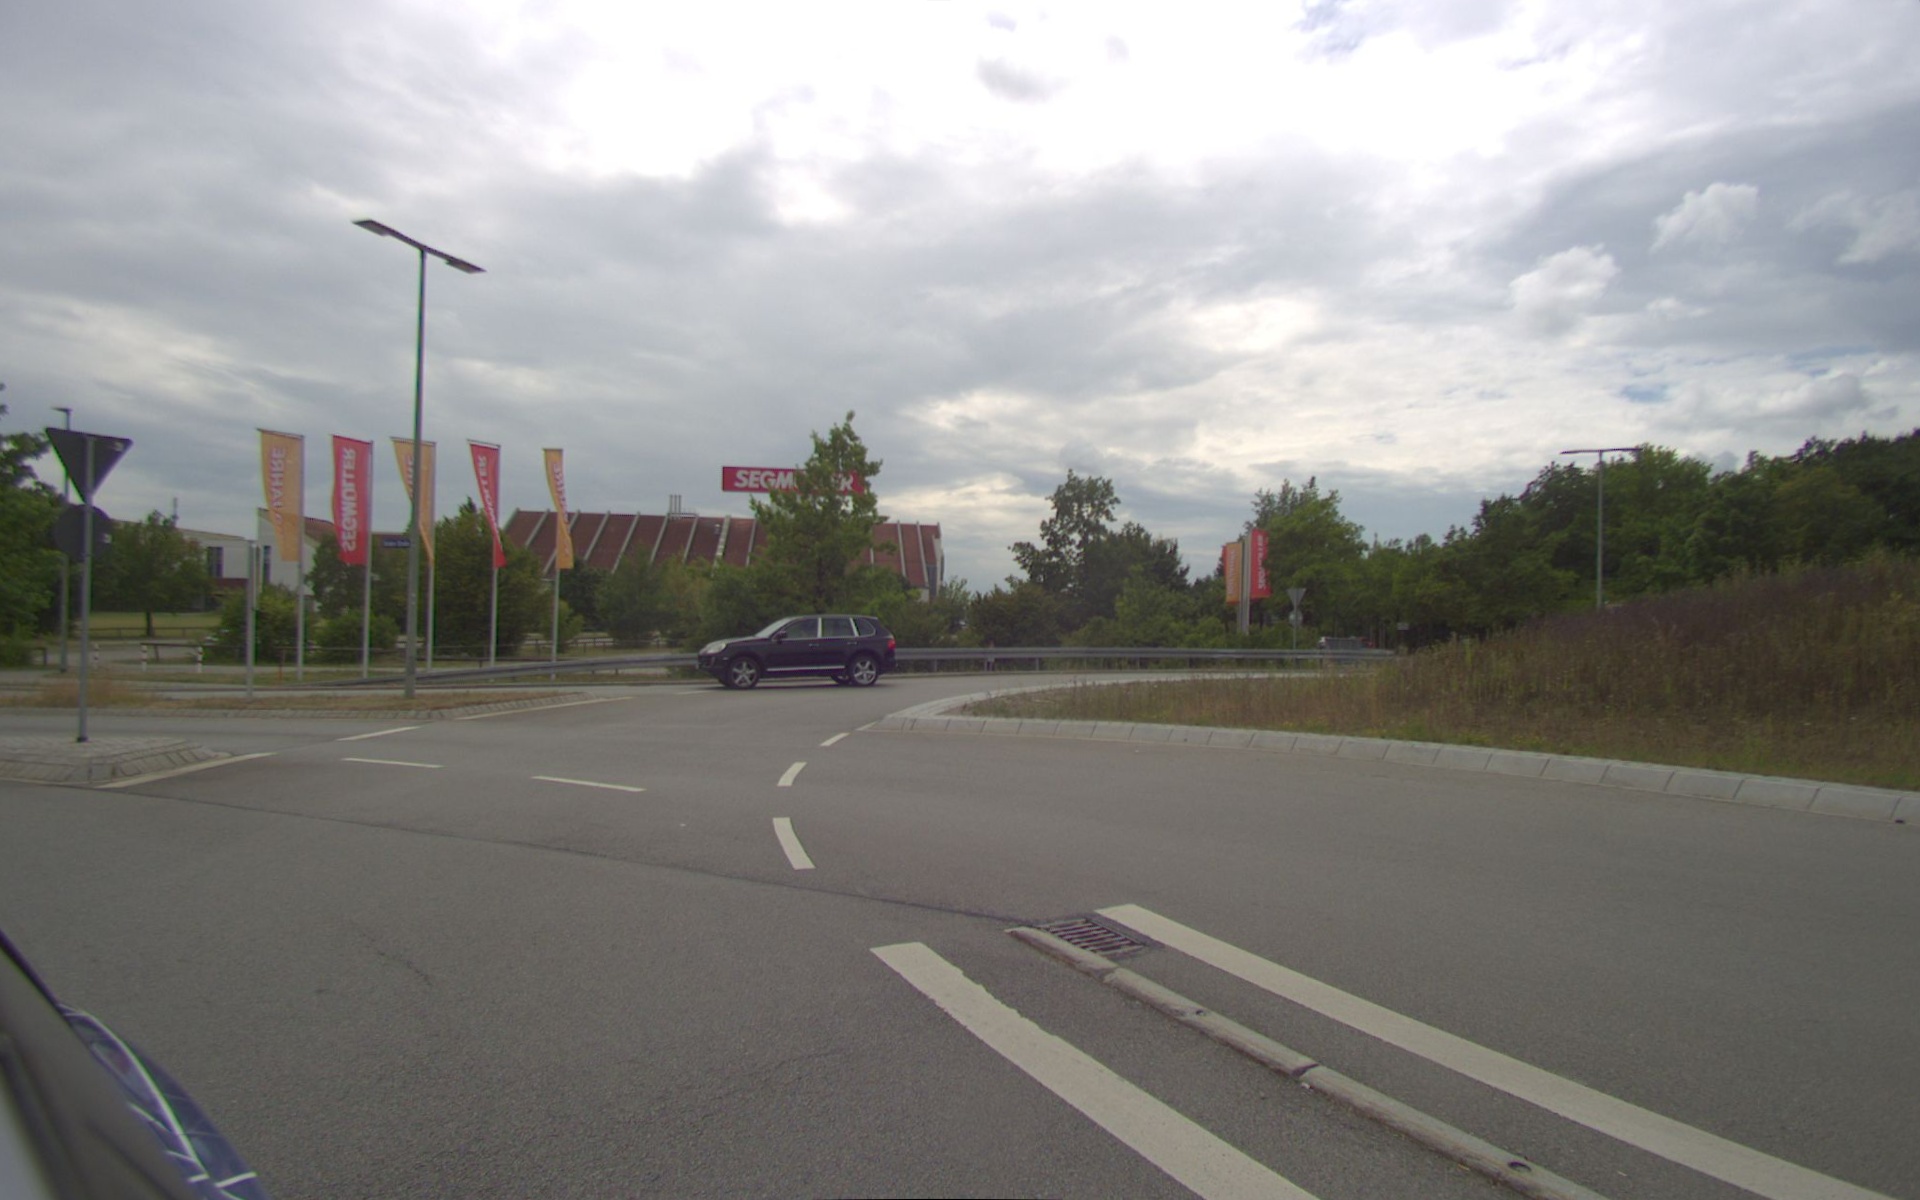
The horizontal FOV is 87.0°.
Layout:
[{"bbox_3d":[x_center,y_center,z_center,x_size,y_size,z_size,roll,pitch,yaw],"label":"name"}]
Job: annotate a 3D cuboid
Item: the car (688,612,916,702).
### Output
[{"bbox_3d":[-3.748,1.268,24.023,4.963,1.804,2.112,-1,1,-22],"label":"car"}]
